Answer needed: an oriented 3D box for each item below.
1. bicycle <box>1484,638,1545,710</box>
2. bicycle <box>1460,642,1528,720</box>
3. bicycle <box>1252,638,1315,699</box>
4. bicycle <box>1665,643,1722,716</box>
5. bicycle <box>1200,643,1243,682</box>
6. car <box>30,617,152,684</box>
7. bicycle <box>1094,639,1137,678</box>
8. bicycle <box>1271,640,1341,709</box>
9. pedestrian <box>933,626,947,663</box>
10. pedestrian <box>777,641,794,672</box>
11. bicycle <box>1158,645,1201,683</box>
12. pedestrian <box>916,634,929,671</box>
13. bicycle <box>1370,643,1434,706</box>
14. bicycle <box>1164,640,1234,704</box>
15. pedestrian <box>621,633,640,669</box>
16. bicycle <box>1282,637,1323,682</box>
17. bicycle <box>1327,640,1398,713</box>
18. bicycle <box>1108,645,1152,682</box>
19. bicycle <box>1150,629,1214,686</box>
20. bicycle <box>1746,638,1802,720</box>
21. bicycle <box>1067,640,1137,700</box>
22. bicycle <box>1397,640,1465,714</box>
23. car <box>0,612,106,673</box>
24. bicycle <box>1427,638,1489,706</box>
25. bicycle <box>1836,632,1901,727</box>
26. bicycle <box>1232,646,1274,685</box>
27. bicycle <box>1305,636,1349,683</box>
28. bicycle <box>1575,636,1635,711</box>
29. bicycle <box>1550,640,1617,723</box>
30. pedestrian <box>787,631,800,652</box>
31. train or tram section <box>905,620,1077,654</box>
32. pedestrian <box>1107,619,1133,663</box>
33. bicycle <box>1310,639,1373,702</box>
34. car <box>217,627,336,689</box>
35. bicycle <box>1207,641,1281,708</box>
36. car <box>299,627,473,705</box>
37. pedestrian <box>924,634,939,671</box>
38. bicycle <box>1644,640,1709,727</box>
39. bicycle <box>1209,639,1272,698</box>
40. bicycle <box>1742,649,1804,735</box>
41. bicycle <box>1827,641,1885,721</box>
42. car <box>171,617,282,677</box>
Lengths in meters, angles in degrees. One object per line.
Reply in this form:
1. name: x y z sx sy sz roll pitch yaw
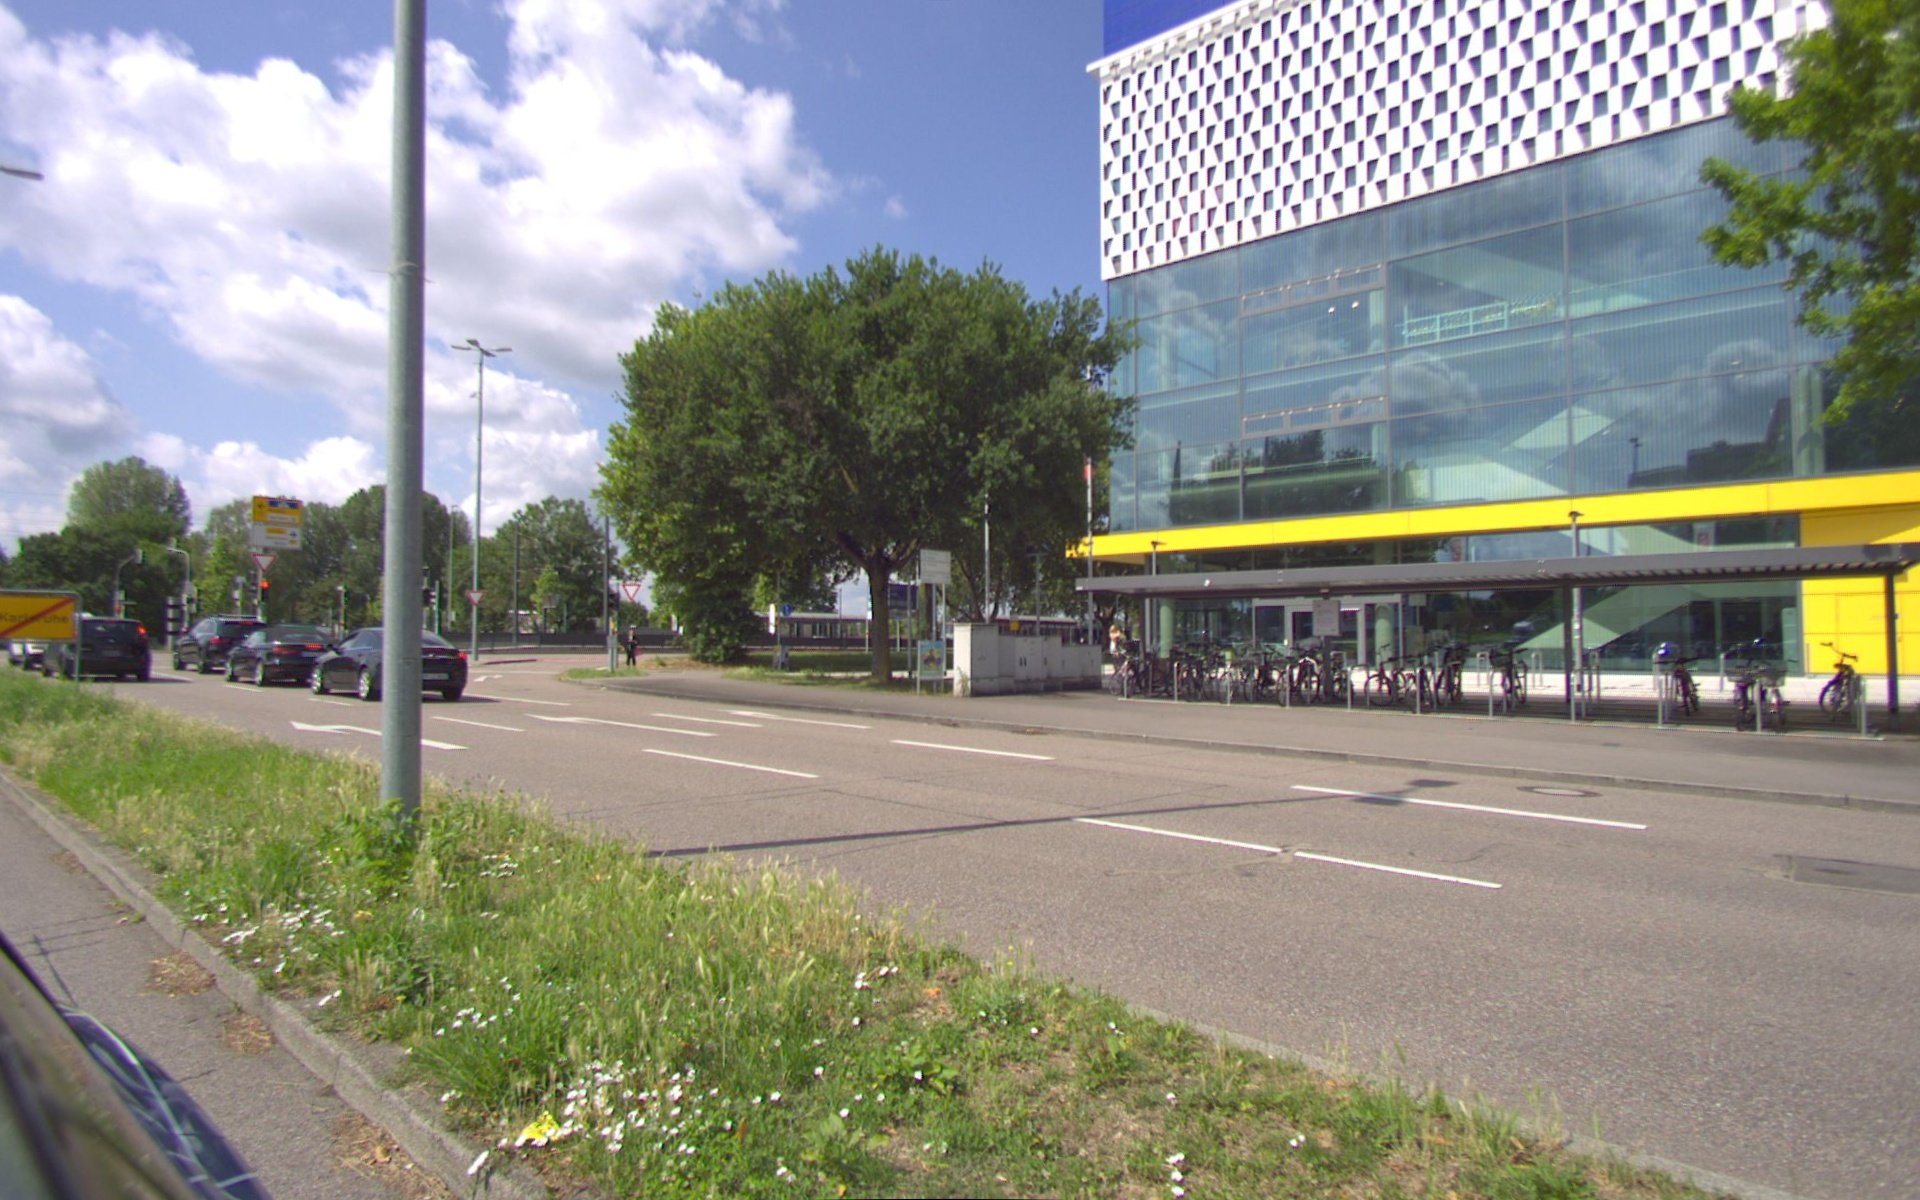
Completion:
1. bicycle: 10.659 1.386 19.425 0.629 1.282 1.905 -3 -3 40
2. bicycle: 9.473 1.393 17.916 0.629 1.282 1.905 -3 -3 40
3. bicycle: 7.269 1.506 22.699 0.629 1.282 1.905 -3 -3 40
4. bicycle: 12.860 1.357 17.721 0.629 1.188 1.905 -3 -3 40
5. bicycle: 7.760 1.842 29.934 0.519 1.098 1.911 -3 -3 37
6. car: -21.200 1.200 24.644 4.130 1.505 1.587 -1 -4 41
7. bicycle: 4.928 1.837 31.936 0.467 1.181 1.938 -3 -3 37
8. bicycle: 6.908 1.460 20.173 0.629 1.282 1.905 -3 -3 40
9. pedestrian: -0.935 2.107 47.710 0.409 1.716 0.522 -2 -3 32
10. pedestrian: -7.818 2.521 45.353 0.538 1.334 0.485 -1 -2 42
11. bicycle: 6.680 1.930 30.720 0.528 1.078 1.916 -1 -2 36
12. pedestrian: -1.736 2.430 46.942 0.449 1.716 0.399 -2 -3 35
13. bicycle: 9.011 1.496 20.585 0.629 1.192 1.905 -3 -3 40
14. bicycle: 5.133 1.522 21.668 0.629 1.282 1.905 -3 -3 40
15. pedestrian: -13.898 2.156 42.654 0.616 1.502 0.435 -1 -2 25
16. bicycle: 9.615 1.642 28.360 0.528 1.219 1.916 -1 -2 36
17. bicycle: 7.587 1.403 19.036 0.629 1.282 1.905 -3 -3 40
18. bicycle: 5.327 1.961 31.622 0.528 1.078 1.916 -1 -2 36
19. bicycle: 5.268 1.337 23.909 0.629 1.282 1.905 -3 -3 40
20. bicycle: 13.704 1.294 17.024 0.629 1.282 1.905 -3 -3 40
21. bicycle: 3.243 1.572 23.016 0.629 1.282 1.905 -3 -3 40
22. bicycle: 8.709 1.390 18.671 0.629 1.282 1.905 -3 -3 40
23. car: -26.330 1.204 29.297 4.375 1.632 1.690 0 -4 40
24. bicycle: 10.024 1.425 20.347 0.629 1.282 1.905 -3 -3 40
25. bicycle: 13.123 1.111 14.651 0.629 1.282 1.905 -1 -2 40
26. bicycle: 8.504 1.875 29.313 0.528 1.078 1.916 -1 -2 36
27. bicycle: 10.143 1.620 27.944 0.596 1.253 1.927 -1 -2 37
28. bicycle: 11.856 1.323 18.582 0.629 1.282 1.905 -3 -3 40
29. bicycle: 10.416 1.326 16.882 0.629 1.282 1.905 -3 -3 40
30. pedestrian: -14.956 3.719 90.894 0.759 1.867 0.783 -2 -4 33
31. train or tram section: 4.031 4.175 109.657 4.526 3.055 24.795 -2 -4 39
32. pedestrian: 6.368 1.625 40.285 0.709 1.719 0.888 -1 -2 36
33. bicycle: 8.225 1.494 21.782 0.629 1.282 1.905 -3 -3 40
34. car: -16.901 1.397 24.949 4.094 1.402 1.396 -1 -4 41
35. bicycle: 5.891 1.515 20.918 0.629 1.282 2.067 -3 -3 40
36. car: -11.946 1.317 20.946 4.516 1.432 1.646 -1 -4 41
37. pedestrian: -1.304 2.412 46.650 0.515 1.716 0.405 -2 -3 35
38. bicycle: 11.437 1.297 16.130 0.629 1.282 1.905 -3 -3 40
39. bicycle: 6.453 1.543 23.229 0.629 1.282 1.905 -3 -3 40
40. bicycle: 12.343 1.353 15.343 0.629 1.192 1.905 -3 -3 40
41. bicycle: 14.503 1.277 16.413 0.629 1.193 1.905 -3 -3 40
42. car: -21.994 1.384 30.302 3.998 1.627 1.752 0 -4 41
